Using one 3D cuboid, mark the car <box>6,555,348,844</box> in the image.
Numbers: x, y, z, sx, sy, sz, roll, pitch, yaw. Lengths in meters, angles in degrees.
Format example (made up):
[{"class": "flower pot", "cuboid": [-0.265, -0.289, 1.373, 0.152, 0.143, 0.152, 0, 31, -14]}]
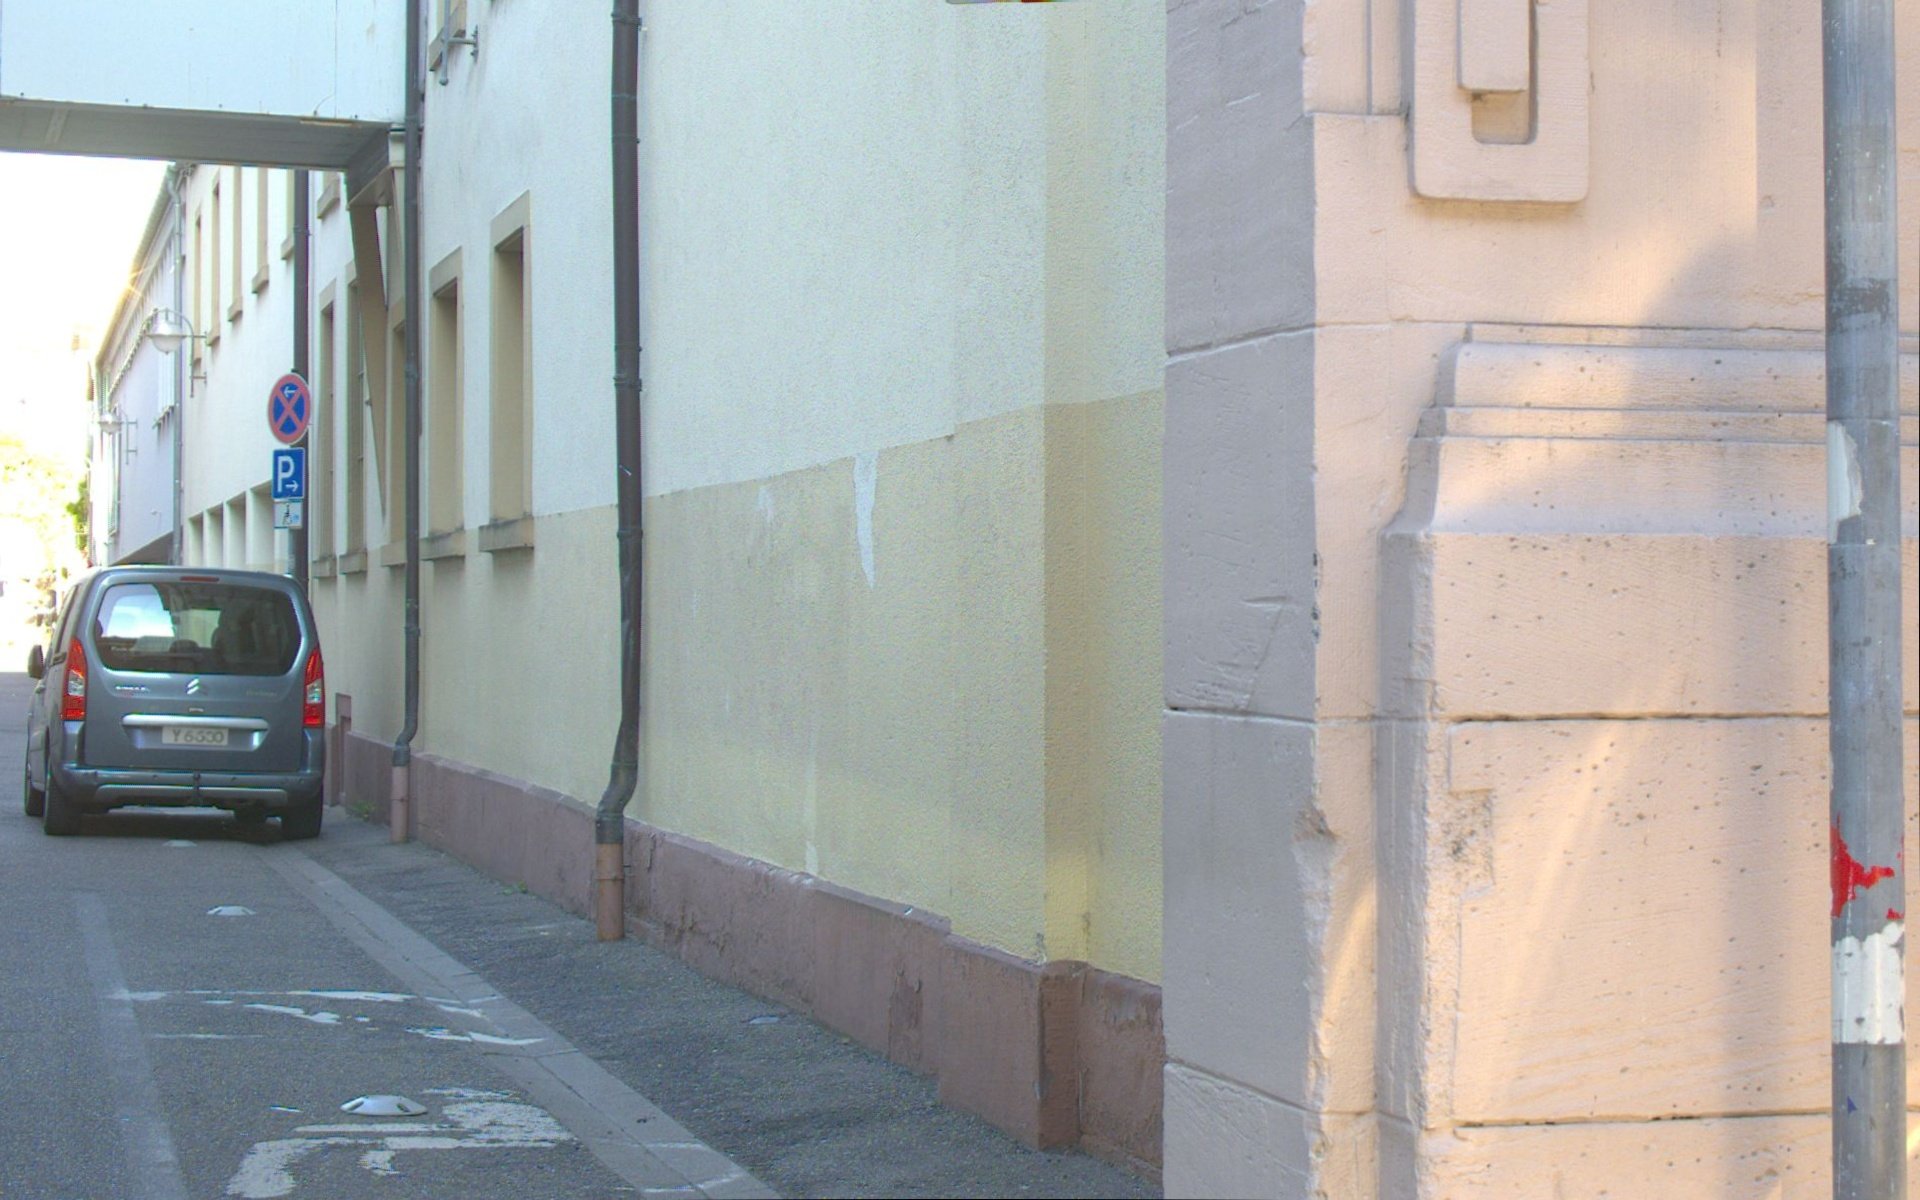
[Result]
[{"class": "car", "cuboid": [-5.533, 0.632, 23.929, 1.854, 1.750, 4.163, 4, -1, -18]}]
